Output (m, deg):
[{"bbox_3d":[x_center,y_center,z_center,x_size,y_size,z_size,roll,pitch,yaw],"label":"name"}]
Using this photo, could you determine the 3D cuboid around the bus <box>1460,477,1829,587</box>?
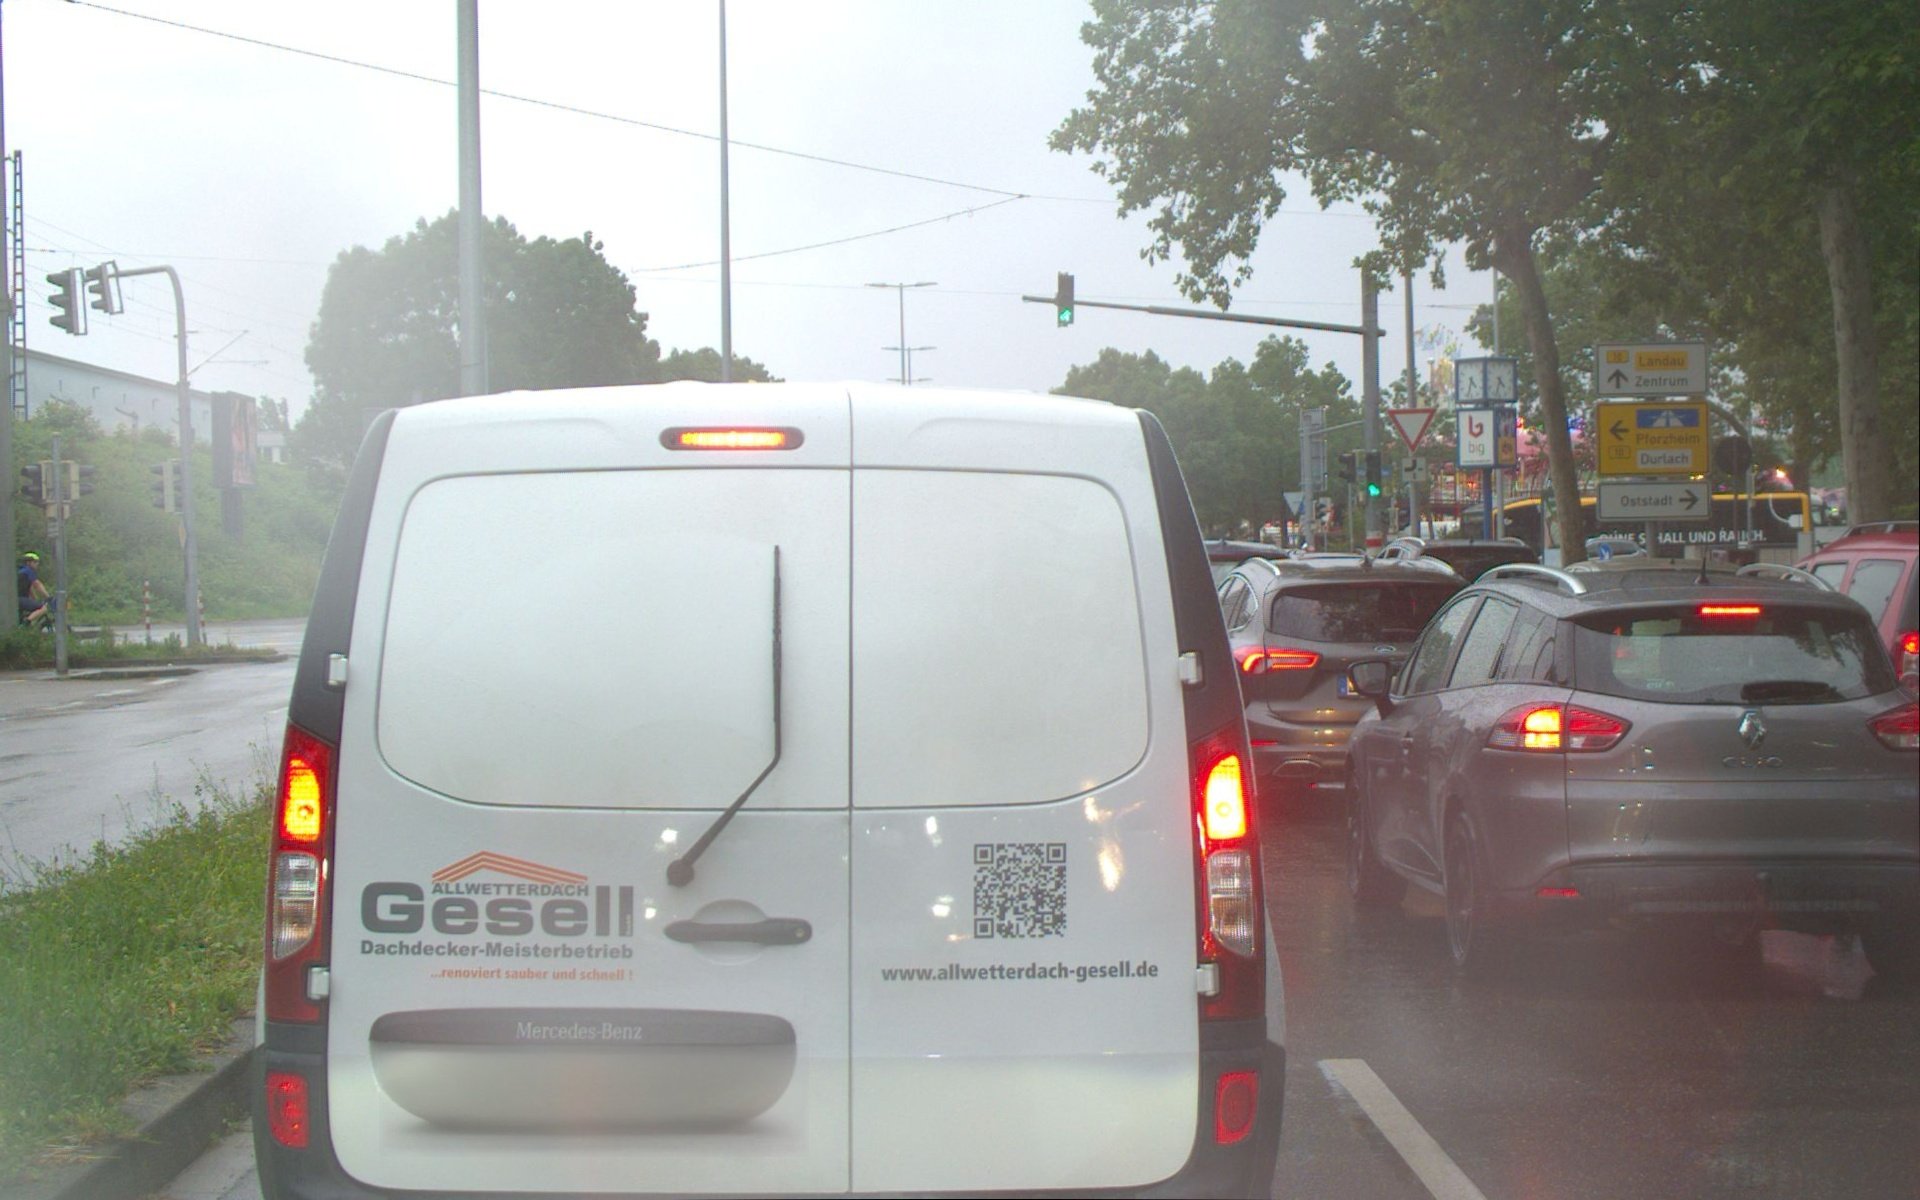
[{"bbox_3d":[22.964,-2.293,115.480,11.968,3.411,2.484,-1,1,-8],"label":"bus"}]

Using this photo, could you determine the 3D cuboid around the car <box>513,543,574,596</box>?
[{"bbox_3d":[-12.869,-0.956,106.376,1.468,1.554,3.508,-1,2,-1],"label":"car"}]

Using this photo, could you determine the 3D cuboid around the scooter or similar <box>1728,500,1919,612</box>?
[{"bbox_3d":[19.987,-0.994,77.062,1.890,2.437,5.316,-1,1,-41],"label":"scooter or similar"}]

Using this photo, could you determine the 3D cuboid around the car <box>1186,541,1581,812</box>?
[{"bbox_3d":[2.434,0.382,20.632,1.854,1.455,3.843,0,1,-1],"label":"car"}]

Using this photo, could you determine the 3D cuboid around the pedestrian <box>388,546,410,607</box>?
[{"bbox_3d":[-15.717,-0.655,96.257,0.543,1.710,0.563,1,0,-4],"label":"pedestrian"}]

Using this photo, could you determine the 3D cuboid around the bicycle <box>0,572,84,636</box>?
[{"bbox_3d":[-14.950,0.057,55.511,1.040,0.949,2.889,-2,2,-25],"label":"bicycle"}]

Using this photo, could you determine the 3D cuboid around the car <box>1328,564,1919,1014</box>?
[{"bbox_3d":[2.501,0.596,13.078,1.683,1.403,3.843,1,1,-1],"label":"car"}]

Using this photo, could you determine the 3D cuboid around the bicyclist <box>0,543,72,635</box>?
[{"bbox_3d":[-14.928,-0.192,55.433,1.040,1.445,0.729,-2,2,-25],"label":"bicyclist"}]

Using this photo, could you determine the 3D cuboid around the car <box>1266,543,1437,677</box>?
[{"bbox_3d":[4.993,0.102,44.222,1.708,1.644,3.843,0,1,-1],"label":"car"}]

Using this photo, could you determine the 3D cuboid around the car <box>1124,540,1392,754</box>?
[{"bbox_3d":[2.413,0.331,28.664,1.854,1.644,3.843,0,1,-1],"label":"car"}]

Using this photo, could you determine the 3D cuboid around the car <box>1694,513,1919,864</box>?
[{"bbox_3d":[5.339,0.427,18.698,1.710,1.688,4.272,1,0,-1],"label":"car"}]

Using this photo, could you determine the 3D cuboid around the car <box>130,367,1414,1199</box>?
[{"bbox_3d":[-0.314,0.476,7.651,1.993,1.770,4.585,0,1,-1],"label":"car"}]

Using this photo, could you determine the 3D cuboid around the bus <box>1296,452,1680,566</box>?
[{"bbox_3d":[16.959,-2.929,110.876,11.970,3.411,2.315,-1,1,0],"label":"bus"}]

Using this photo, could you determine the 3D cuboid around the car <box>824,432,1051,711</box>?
[{"bbox_3d":[-0.208,-0.273,30.168,1.854,2.288,3.843,0,1,-1],"label":"car"}]

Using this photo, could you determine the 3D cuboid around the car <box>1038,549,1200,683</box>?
[{"bbox_3d":[1.995,0.180,44.205,1.854,1.644,3.843,0,1,-1],"label":"car"}]

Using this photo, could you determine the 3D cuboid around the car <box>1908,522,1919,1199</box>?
[{"bbox_3d":[2.979,0.644,5.409,1.747,1.549,4.091,0,1,-1],"label":"car"}]
